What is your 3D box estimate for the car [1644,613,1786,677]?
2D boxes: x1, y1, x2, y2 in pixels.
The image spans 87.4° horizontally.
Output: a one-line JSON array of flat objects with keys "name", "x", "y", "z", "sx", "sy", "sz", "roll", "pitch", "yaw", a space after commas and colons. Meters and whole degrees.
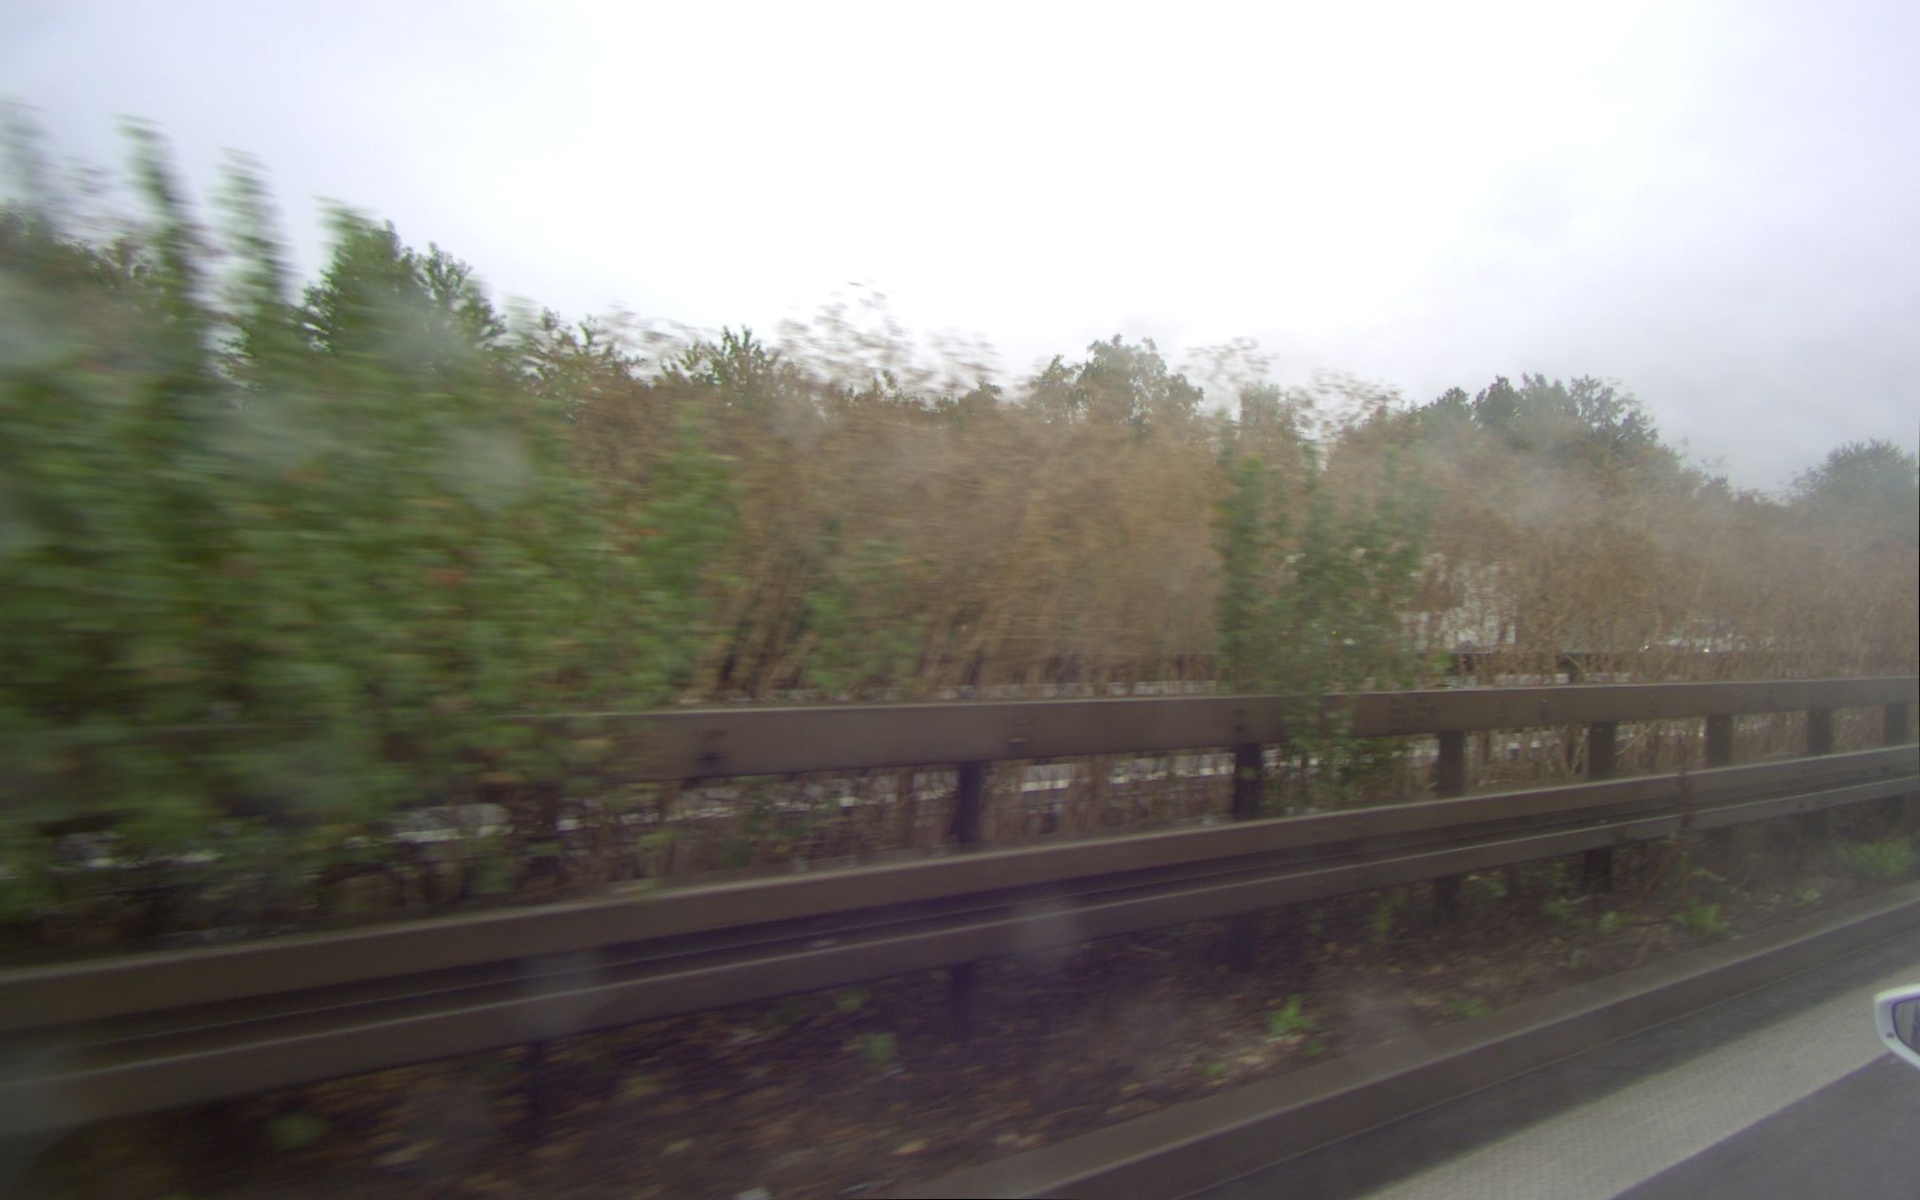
[{"name": "car", "x": 19.004, "y": 1.118, "z": 25.238, "sx": 4.081, "sy": 1.476, "sz": 1.417, "roll": 2, "pitch": 0, "yaw": -31}]

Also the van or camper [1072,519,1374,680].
[{"name": "van or camper", "x": 5.857, "y": 0.062, "z": 22.017, "sx": 6.493, "sy": 3.081, "sz": 2.573, "roll": 2, "pitch": 0, "yaw": -31}]
